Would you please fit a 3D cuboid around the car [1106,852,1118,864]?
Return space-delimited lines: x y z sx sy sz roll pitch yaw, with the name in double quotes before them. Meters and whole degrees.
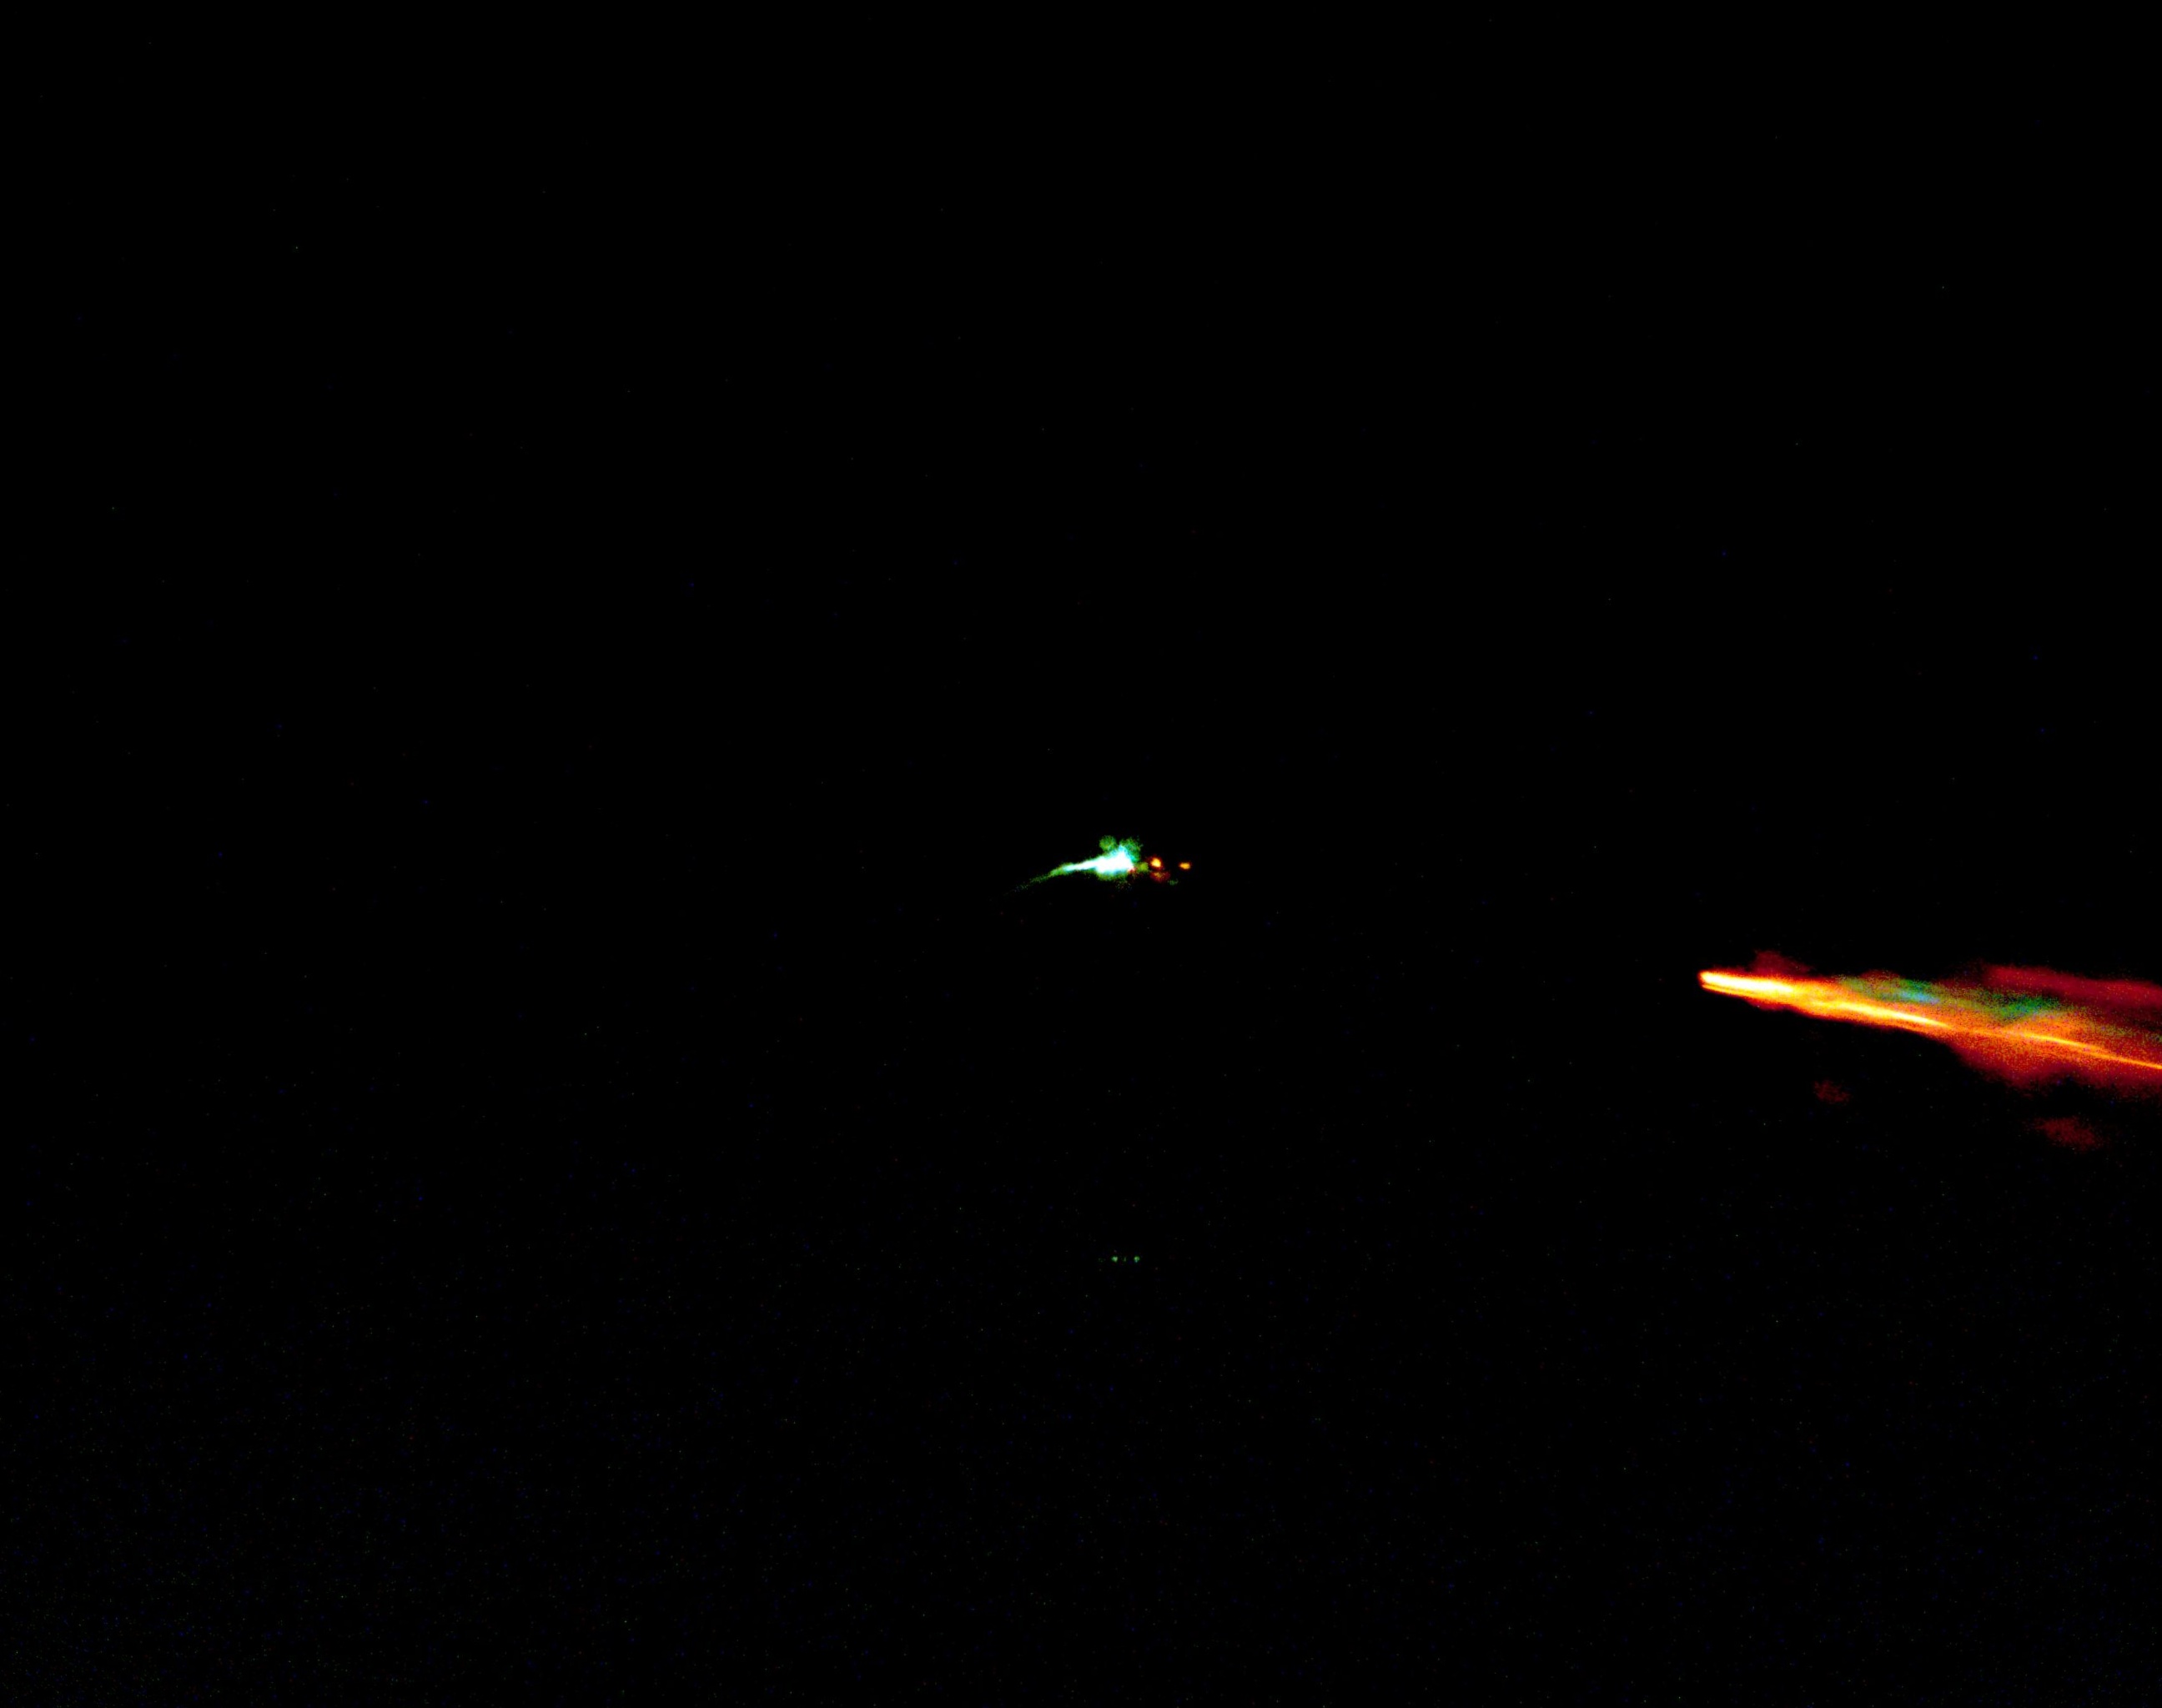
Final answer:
"car" 4.825 0.612 116.590 1.746 1.623 3.736 -2 0 3

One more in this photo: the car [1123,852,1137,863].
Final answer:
"car" 7.284 0.539 112.859 1.837 1.474 4.070 -2 0 1

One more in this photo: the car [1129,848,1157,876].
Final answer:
"car" 4.362 0.541 53.970 1.837 1.860 4.430 -2 0 3

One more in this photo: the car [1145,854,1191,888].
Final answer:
"car" 3.974 0.749 35.038 1.669 1.447 3.426 -2 0 0

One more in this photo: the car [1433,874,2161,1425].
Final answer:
"car" 3.517 0.855 3.915 1.645 1.351 3.680 -2 0 0
